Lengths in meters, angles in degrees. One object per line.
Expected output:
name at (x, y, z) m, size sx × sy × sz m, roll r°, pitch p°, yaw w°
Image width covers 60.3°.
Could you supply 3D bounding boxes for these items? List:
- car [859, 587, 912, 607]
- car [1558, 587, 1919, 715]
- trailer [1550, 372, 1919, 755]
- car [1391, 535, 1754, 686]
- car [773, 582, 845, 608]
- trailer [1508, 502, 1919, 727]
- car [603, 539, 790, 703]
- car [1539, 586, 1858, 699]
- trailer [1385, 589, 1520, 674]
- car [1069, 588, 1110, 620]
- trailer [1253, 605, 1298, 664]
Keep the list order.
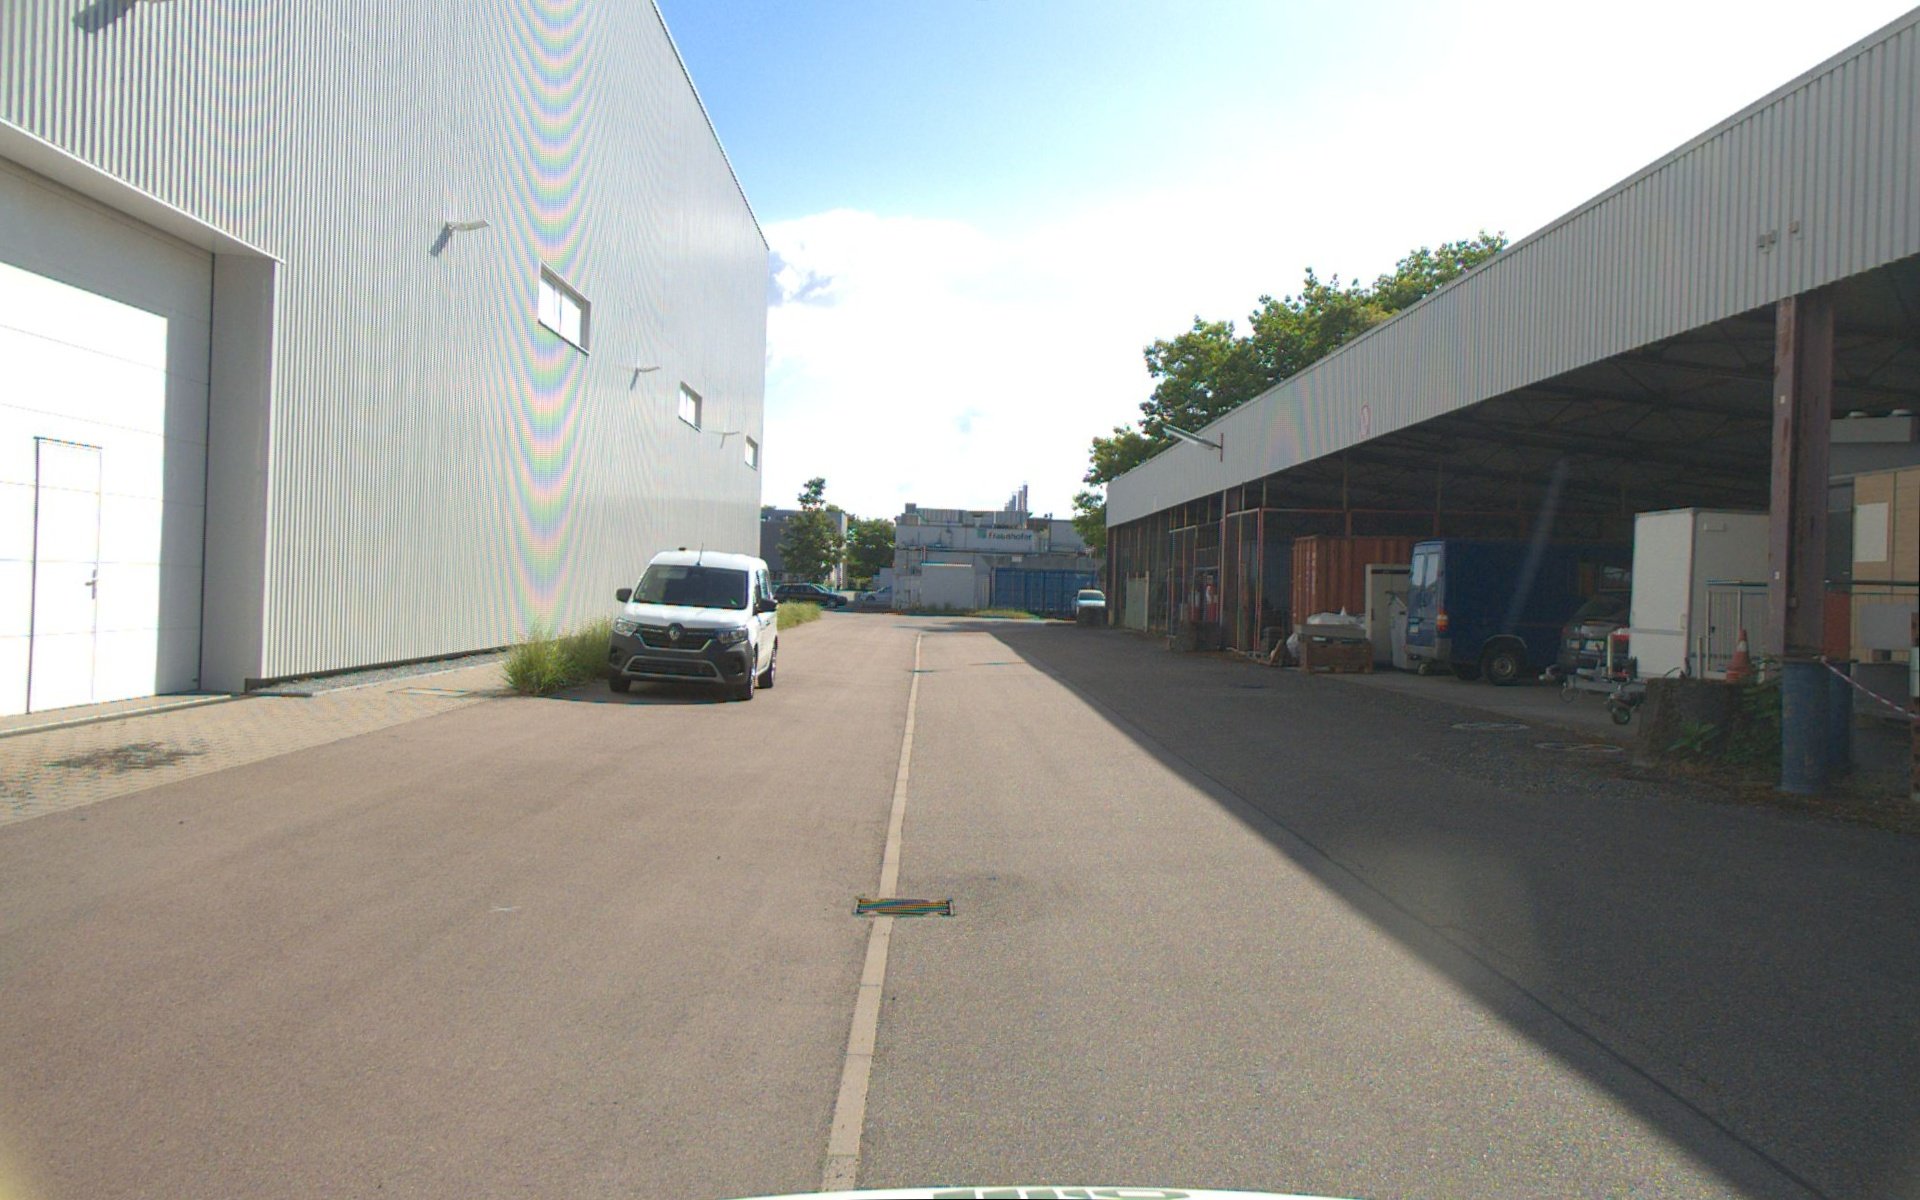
car at (-5.908, -0.245, 131.735) m, size 4.216 × 1.483 × 1.823 m, roll 1°, pitch 0°, yaw -2°
car at (10.110, 0.628, 21.249) m, size 4.164 × 1.497 × 1.868 m, roll 1°, pitch 0°, yaw -4°
trailer at (11.299, -0.318, 16.223) m, size 10.059 × 3.401 × 2.801 m, roll 0°, pitch 0°, yaw -1°
car at (10.073, 0.175, 27.487) m, size 5.225 × 2.321 × 2.152 m, roll 1°, pitch 0°, yaw -2°
car at (-9.454, -0.304, 103.747) m, size 4.358 × 1.558 × 1.823 m, roll 1°, pitch 0°, yaw -2°
trailer at (8.722, 0.157, 18.656) m, size 4.424 × 2.383 × 2.047 m, roll 0°, pitch 0°, yaw 0°
car at (-3.363, 0.255, 21.941) m, size 1.747 × 1.847 × 4.600 m, roll 3°, pitch 0°, yaw -1°
car at (10.800, 0.609, 24.351) m, size 3.886 × 1.540 × 1.838 m, roll 1°, pitch 0°, yaw -4°
trailer at (8.912, 0.543, 30.071) m, size 1.996 × 1.492 × 1.739 m, roll 0°, pitch 0°, yaw 3°
car at (7.139, 0.225, 91.711) m, size 1.939 × 1.630 × 4.378 m, roll 0°, pitch 2°, yaw 0°
trailer at (6.309, 0.674, 33.115) m, size 0.541 × 1.138 × 1.546 m, roll 0°, pitch 0°, yaw -3°
